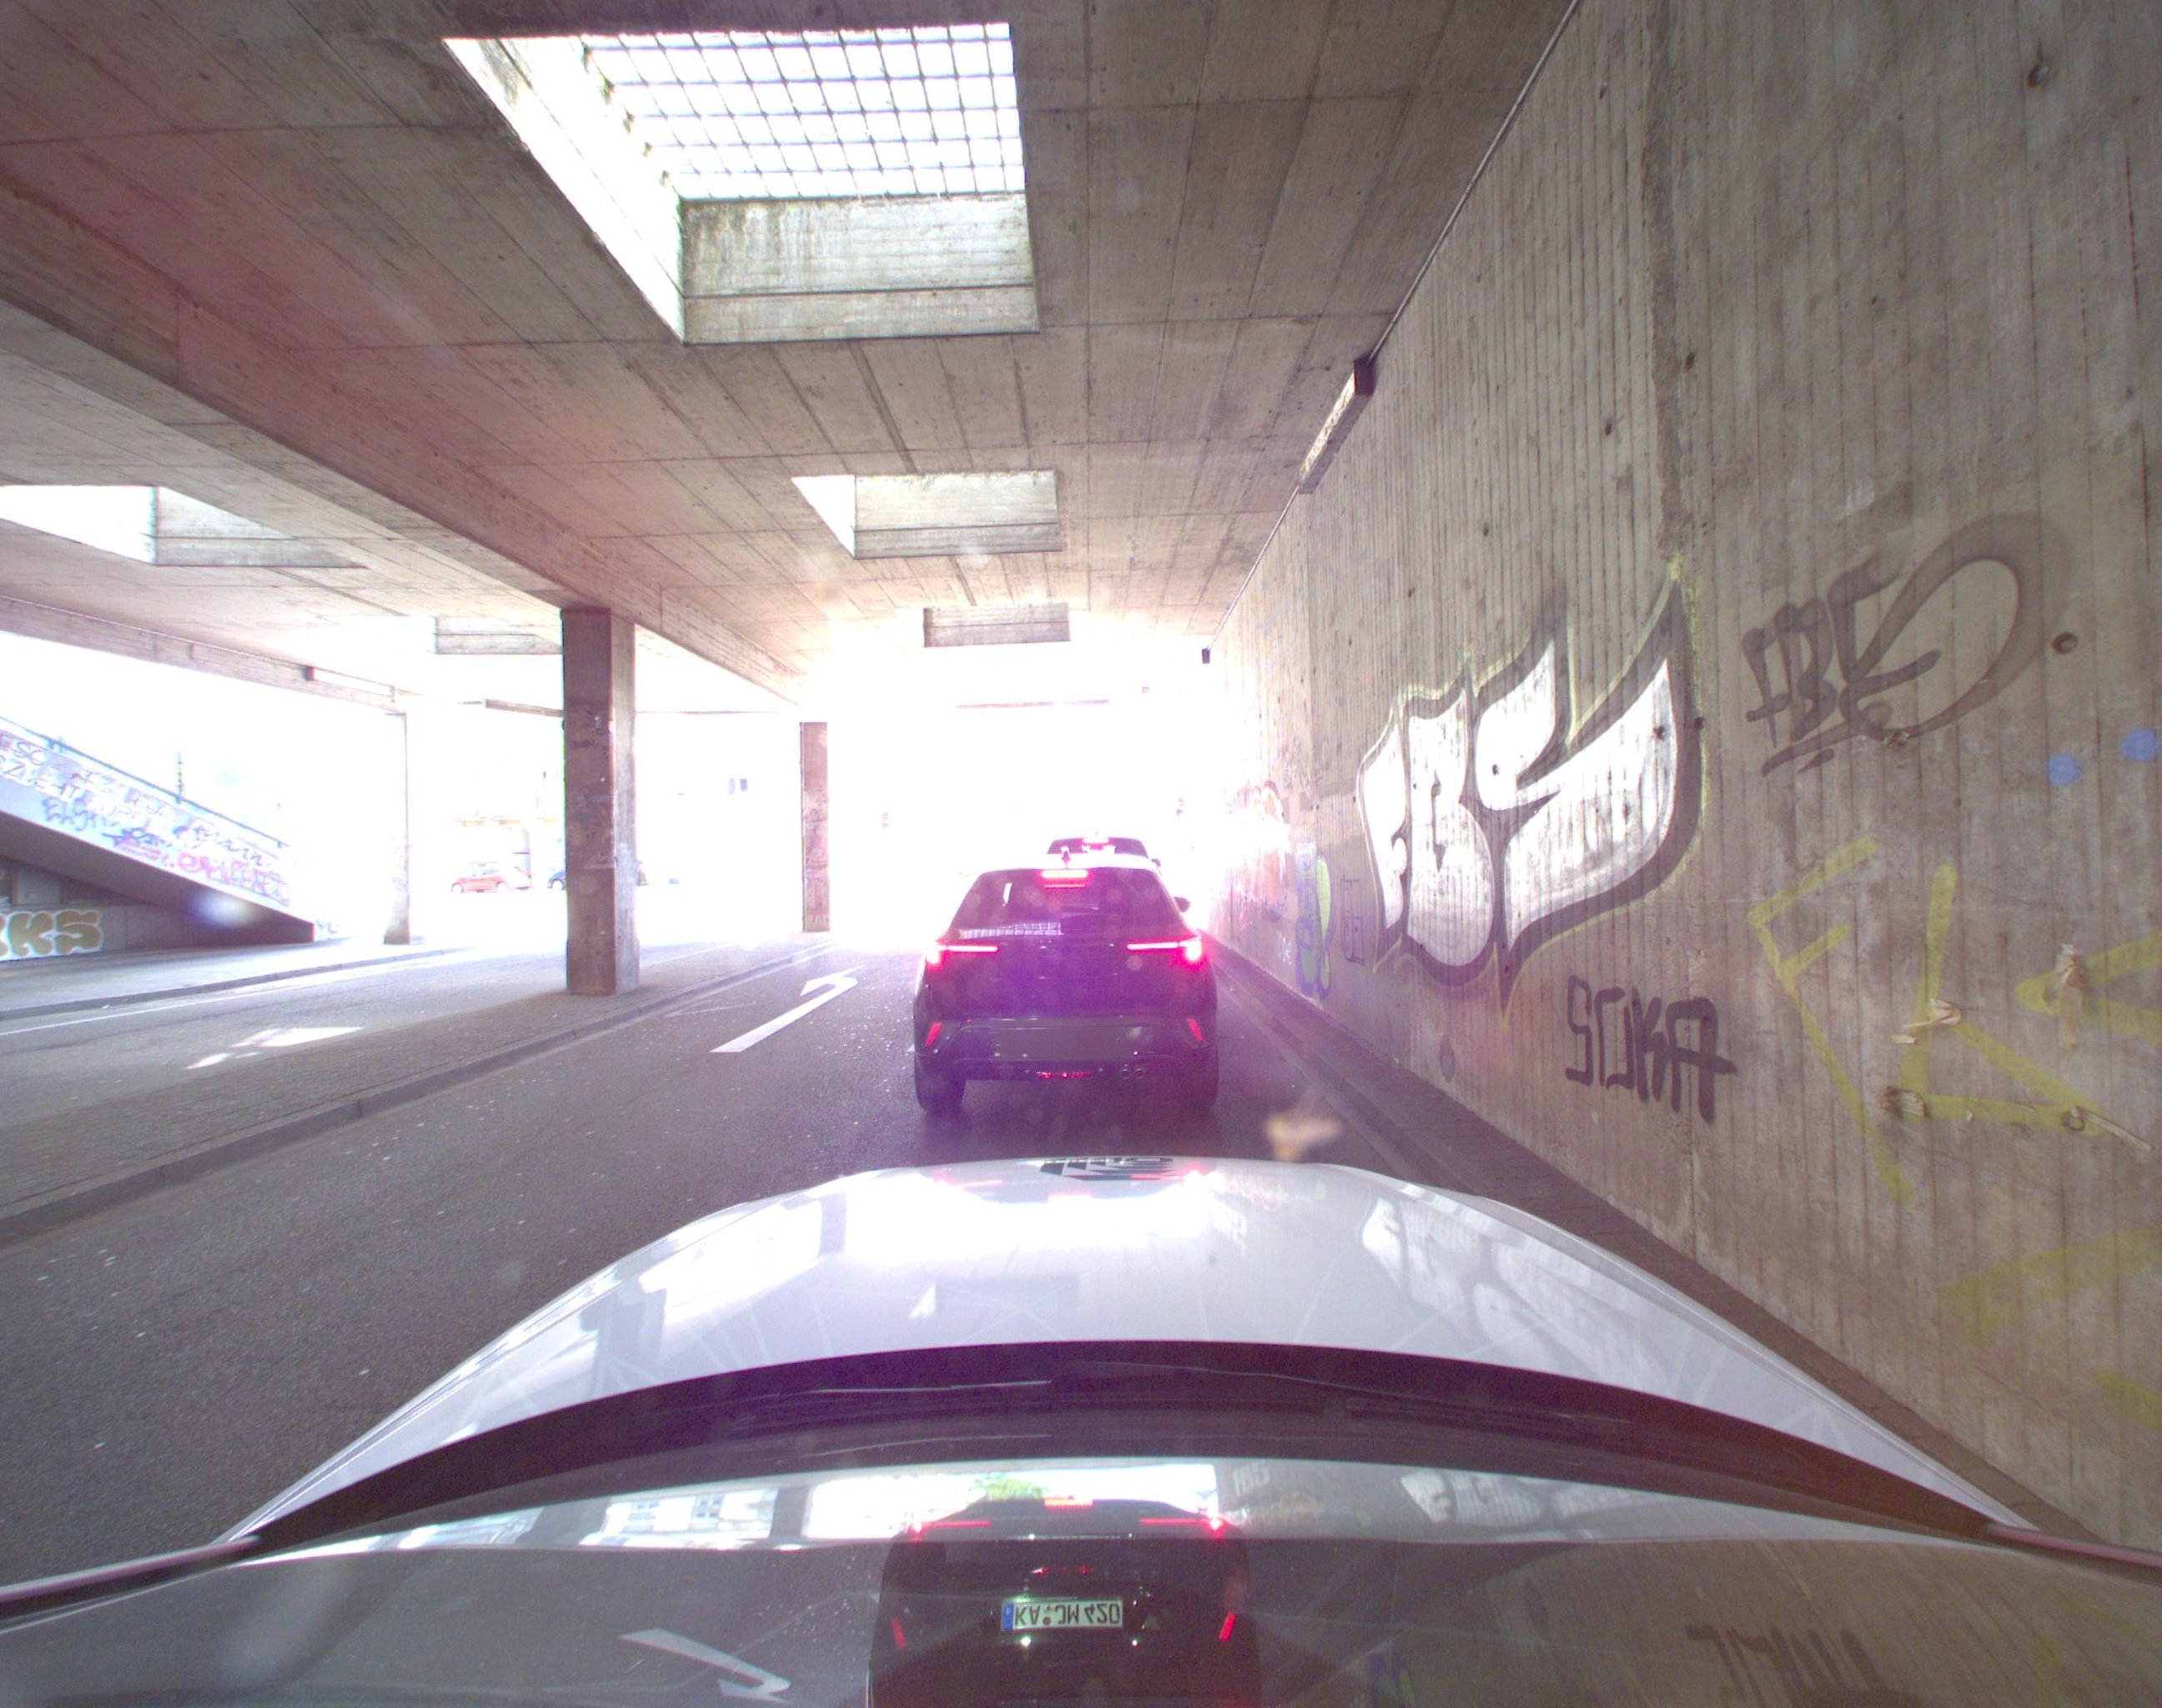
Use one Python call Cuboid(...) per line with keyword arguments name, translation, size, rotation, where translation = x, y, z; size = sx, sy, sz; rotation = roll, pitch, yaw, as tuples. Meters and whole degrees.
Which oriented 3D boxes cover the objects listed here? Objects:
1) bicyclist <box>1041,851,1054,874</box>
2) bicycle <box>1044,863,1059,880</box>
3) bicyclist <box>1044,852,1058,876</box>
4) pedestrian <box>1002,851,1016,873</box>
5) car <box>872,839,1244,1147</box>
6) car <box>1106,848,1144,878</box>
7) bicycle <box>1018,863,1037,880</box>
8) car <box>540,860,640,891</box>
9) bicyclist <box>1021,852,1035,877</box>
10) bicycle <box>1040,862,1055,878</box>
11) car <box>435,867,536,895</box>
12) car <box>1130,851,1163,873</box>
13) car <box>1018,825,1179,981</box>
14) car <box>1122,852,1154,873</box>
Cuboid(name="bicyclist", translation=(-2.352, 0.575, 56.756), size=(0.724, 1.581, 0.817), rotation=(-1, -1, 11))
Cuboid(name="bicycle", translation=(-1.886, 1.099, 52.504), size=(0.621, 1.067, 1.694), rotation=(-1, -1, 11))
Cuboid(name="bicyclist", translation=(-1.909, 0.641, 52.550), size=(0.724, 1.581, 0.817), rotation=(-1, -1, 11))
Cuboid(name="pedestrian", translation=(-6.744, 0.752, 76.231), size=(0.986, 2.013, 1.091), rotation=(-2, 0, 10))
Cuboid(name="car", translation=(-0.056, 0.716, 6.183), size=(1.875, 1.538, 3.966), rotation=(-2, 0, 2))
Cuboid(name="car", translation=(2.408, 0.503, 44.262), size=(1.959, 1.497, 3.900), rotation=(-2, -2, 4))
Cuboid(name="bicycle", translation=(-3.388, 1.103, 51.740), size=(0.727, 1.067, 1.694), rotation=(-1, -1, 11))
Cuboid(name="car", translation=(-27.208, 1.173, 45.241), size=(4.114, 1.550, 2.268), rotation=(-1, 0, 1))
Cuboid(name="bicyclist", translation=(-3.378, 0.646, 51.775), size=(0.724, 1.581, 0.817), rotation=(-1, -1, 11))
Cuboid(name="bicycle", translation=(-2.334, 1.123, 56.870), size=(0.621, 1.067, 1.694), rotation=(-1, -1, 11))
Cuboid(name="car", translation=(-33.013, 1.461, 45.242), size=(3.970, 1.374, 2.192), rotation=(-1, 0, 3))
Cuboid(name="car", translation=(5.593, 0.686, 69.031), size=(2.206, 1.719, 4.474), rotation=(-2, -2, 12))
Cuboid(name="car", translation=(0.277, 0.599, 12.004), size=(1.938, 1.860, 3.966), rotation=(-2, 0, 2))
Cuboid(name="car", translation=(4.409, 0.642, 62.246), size=(1.955, 1.497, 3.908), rotation=(-2, -2, 11))
